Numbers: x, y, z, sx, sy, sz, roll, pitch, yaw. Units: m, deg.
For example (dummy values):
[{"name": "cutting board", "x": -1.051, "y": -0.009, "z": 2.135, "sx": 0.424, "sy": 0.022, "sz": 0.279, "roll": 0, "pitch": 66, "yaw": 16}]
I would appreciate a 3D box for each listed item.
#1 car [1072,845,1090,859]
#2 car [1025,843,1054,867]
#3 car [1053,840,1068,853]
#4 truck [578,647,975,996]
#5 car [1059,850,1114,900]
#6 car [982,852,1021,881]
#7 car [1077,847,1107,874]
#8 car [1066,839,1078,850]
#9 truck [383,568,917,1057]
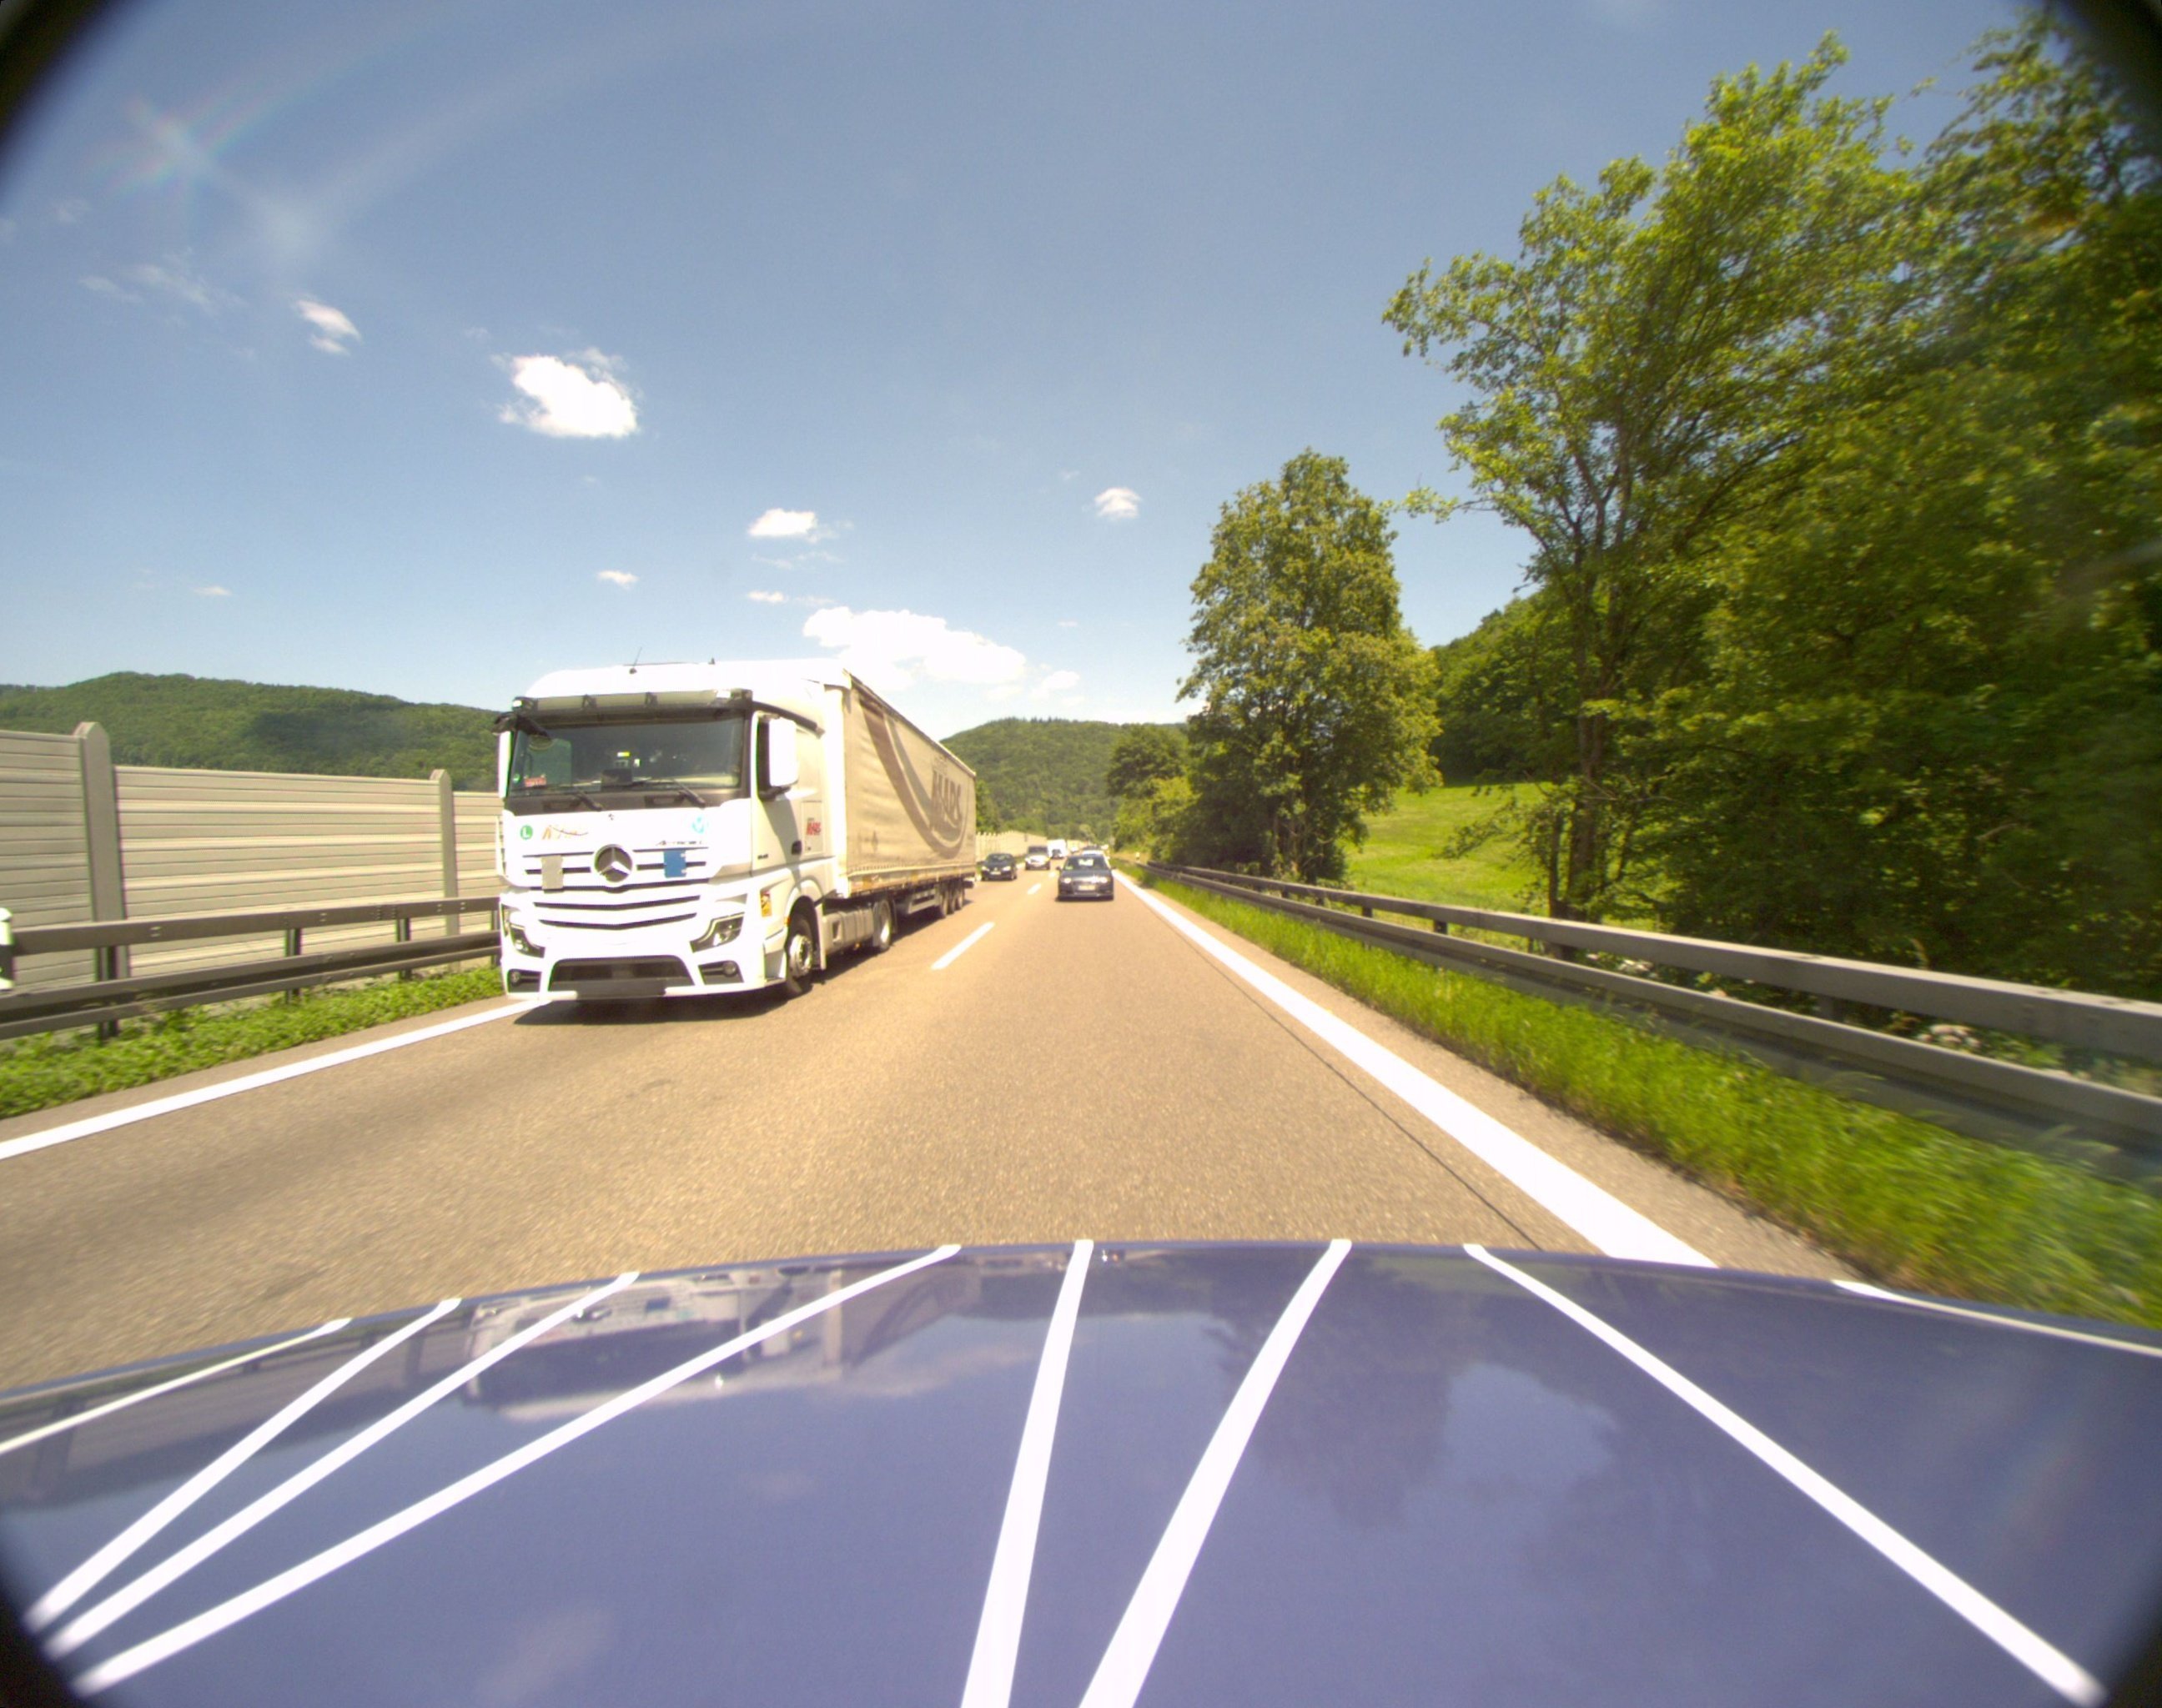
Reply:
[{"name": "car", "x": -0.037, "y": -0.245, "z": 96.765, "sx": 1.801, "sy": 1.508, "sz": 3.718, "roll": 5, "pitch": 1, "yaw": -6}, {"name": "car", "x": -3.202, "y": 0.095, "z": 59.345, "sx": 2.044, "sy": 1.855, "sz": 4.000, "roll": 0, "pitch": 0, "yaw": -1}, {"name": "car", "x": -3.020, "y": -1.054, "z": 113.839, "sx": 1.998, "sy": 1.892, "sz": 4.000, "roll": 1, "pitch": 0, "yaw": 1}, {"name": "truck", "x": -4.459, "y": -0.499, "z": 15.083, "sx": 2.861, "sy": 4.124, "sz": 12.044, "roll": -1, "pitch": 1, "yaw": 0}, {"name": "car", "x": 0.194, "y": 0.651, "z": 25.479, "sx": 1.662, "sy": 1.436, "sz": 3.474, "roll": -2, "pitch": 1, "yaw": 0}, {"name": "car", "x": -4.132, "y": 0.617, "z": 40.091, "sx": 1.662, "sy": 1.405, "sz": 3.474, "roll": 1, "pitch": 1, "yaw": 0}, {"name": "car", "x": 0.652, "y": 0.351, "z": 46.319, "sx": 1.715, "sy": 1.541, "sz": 3.999, "roll": 0, "pitch": 1, "yaw": 0}, {"name": "car", "x": -1.643, "y": -1.820, "z": 141.572, "sx": 1.998, "sy": 2.002, "sz": 3.999, "roll": 0, "pitch": 2, "yaw": 1}, {"name": "truck", "x": -4.348, "y": -0.415, "z": 9.823, "sx": 2.764, "sy": 4.016, "sz": 6.821, "roll": -2, "pitch": 2, "yaw": 0}]
